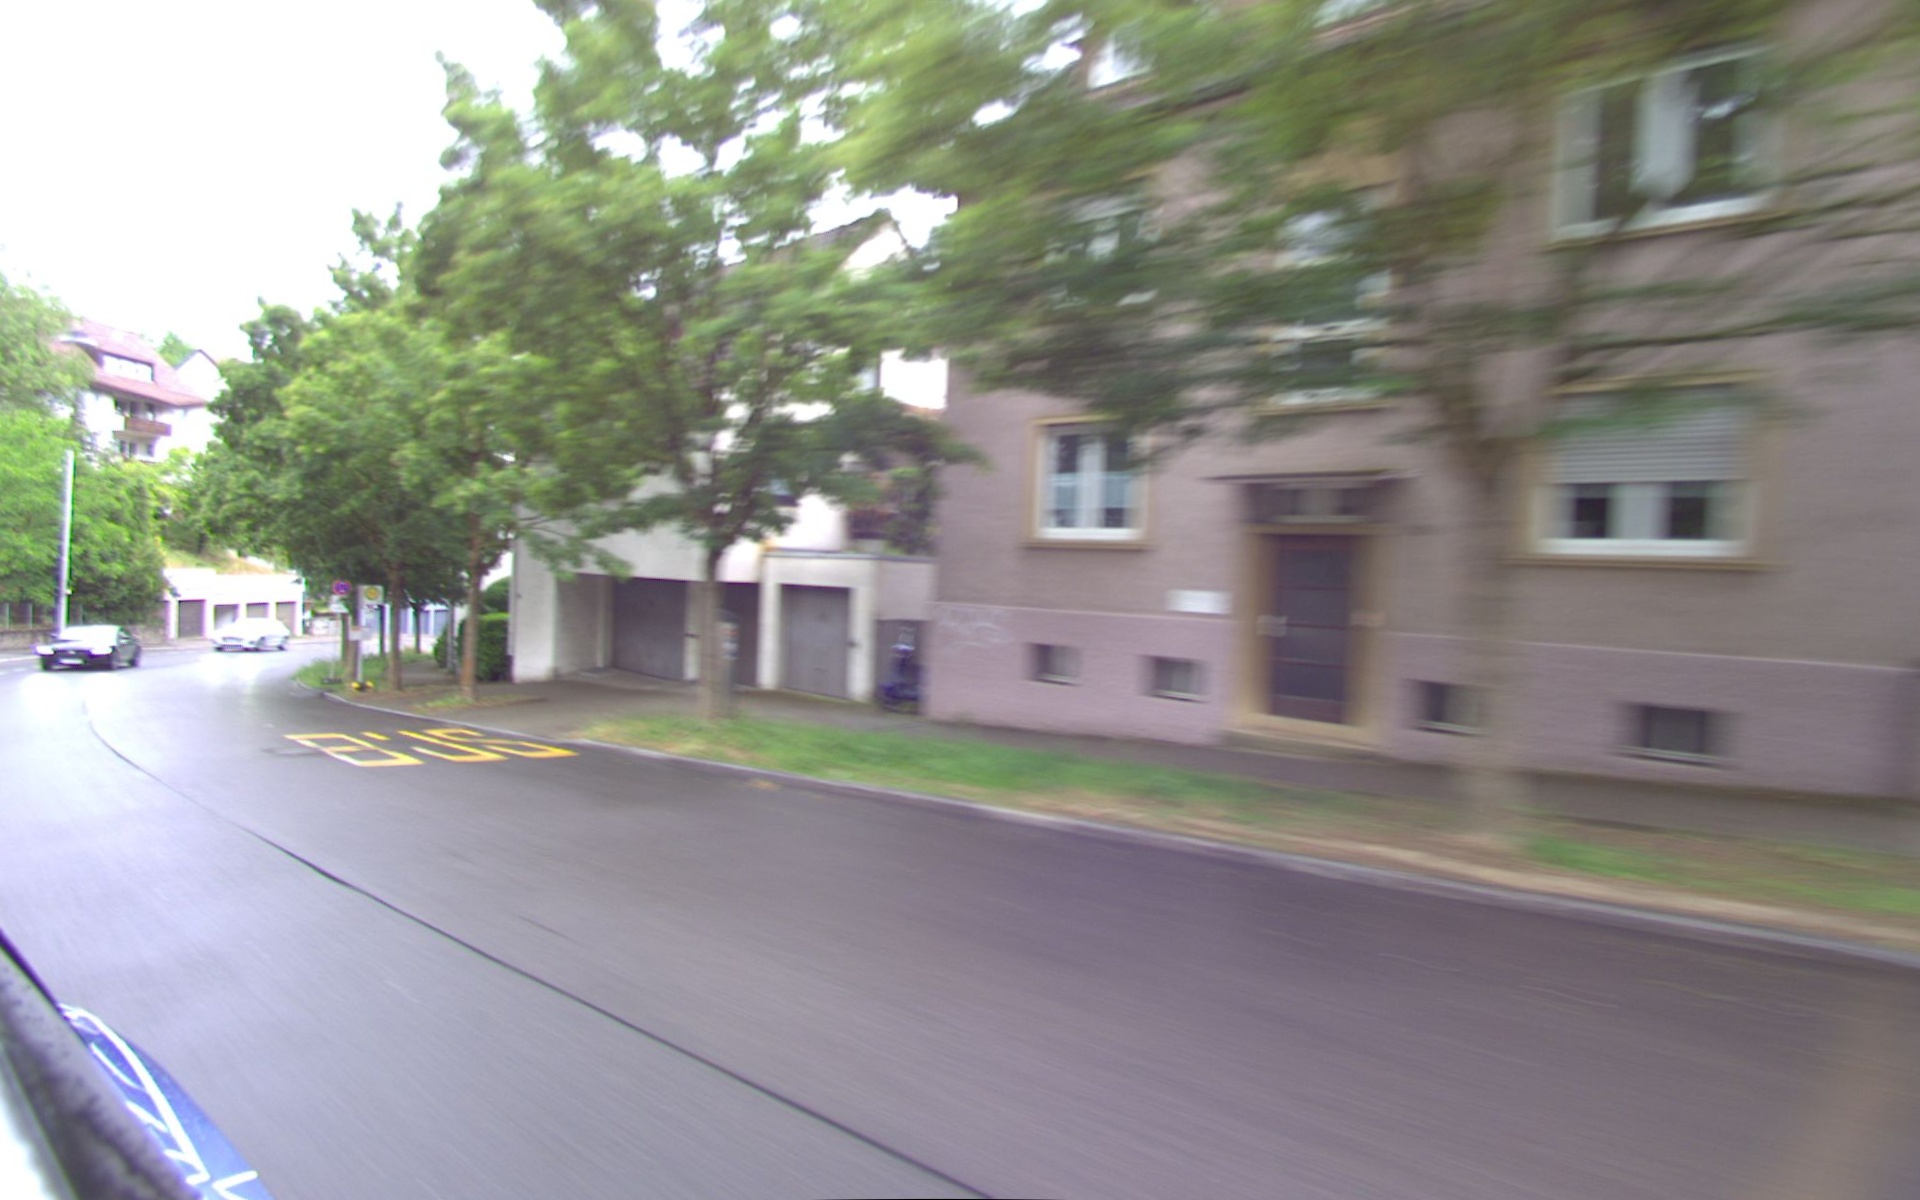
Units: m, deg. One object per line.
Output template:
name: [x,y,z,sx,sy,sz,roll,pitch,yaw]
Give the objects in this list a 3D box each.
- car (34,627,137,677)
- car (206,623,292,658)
car: [-28.265,1.667,32.826,1.778,1.500,4.029,2,-3,-30]
car: [-36.019,2.050,51.417,1.981,1.674,4.456,1,-2,-12]
